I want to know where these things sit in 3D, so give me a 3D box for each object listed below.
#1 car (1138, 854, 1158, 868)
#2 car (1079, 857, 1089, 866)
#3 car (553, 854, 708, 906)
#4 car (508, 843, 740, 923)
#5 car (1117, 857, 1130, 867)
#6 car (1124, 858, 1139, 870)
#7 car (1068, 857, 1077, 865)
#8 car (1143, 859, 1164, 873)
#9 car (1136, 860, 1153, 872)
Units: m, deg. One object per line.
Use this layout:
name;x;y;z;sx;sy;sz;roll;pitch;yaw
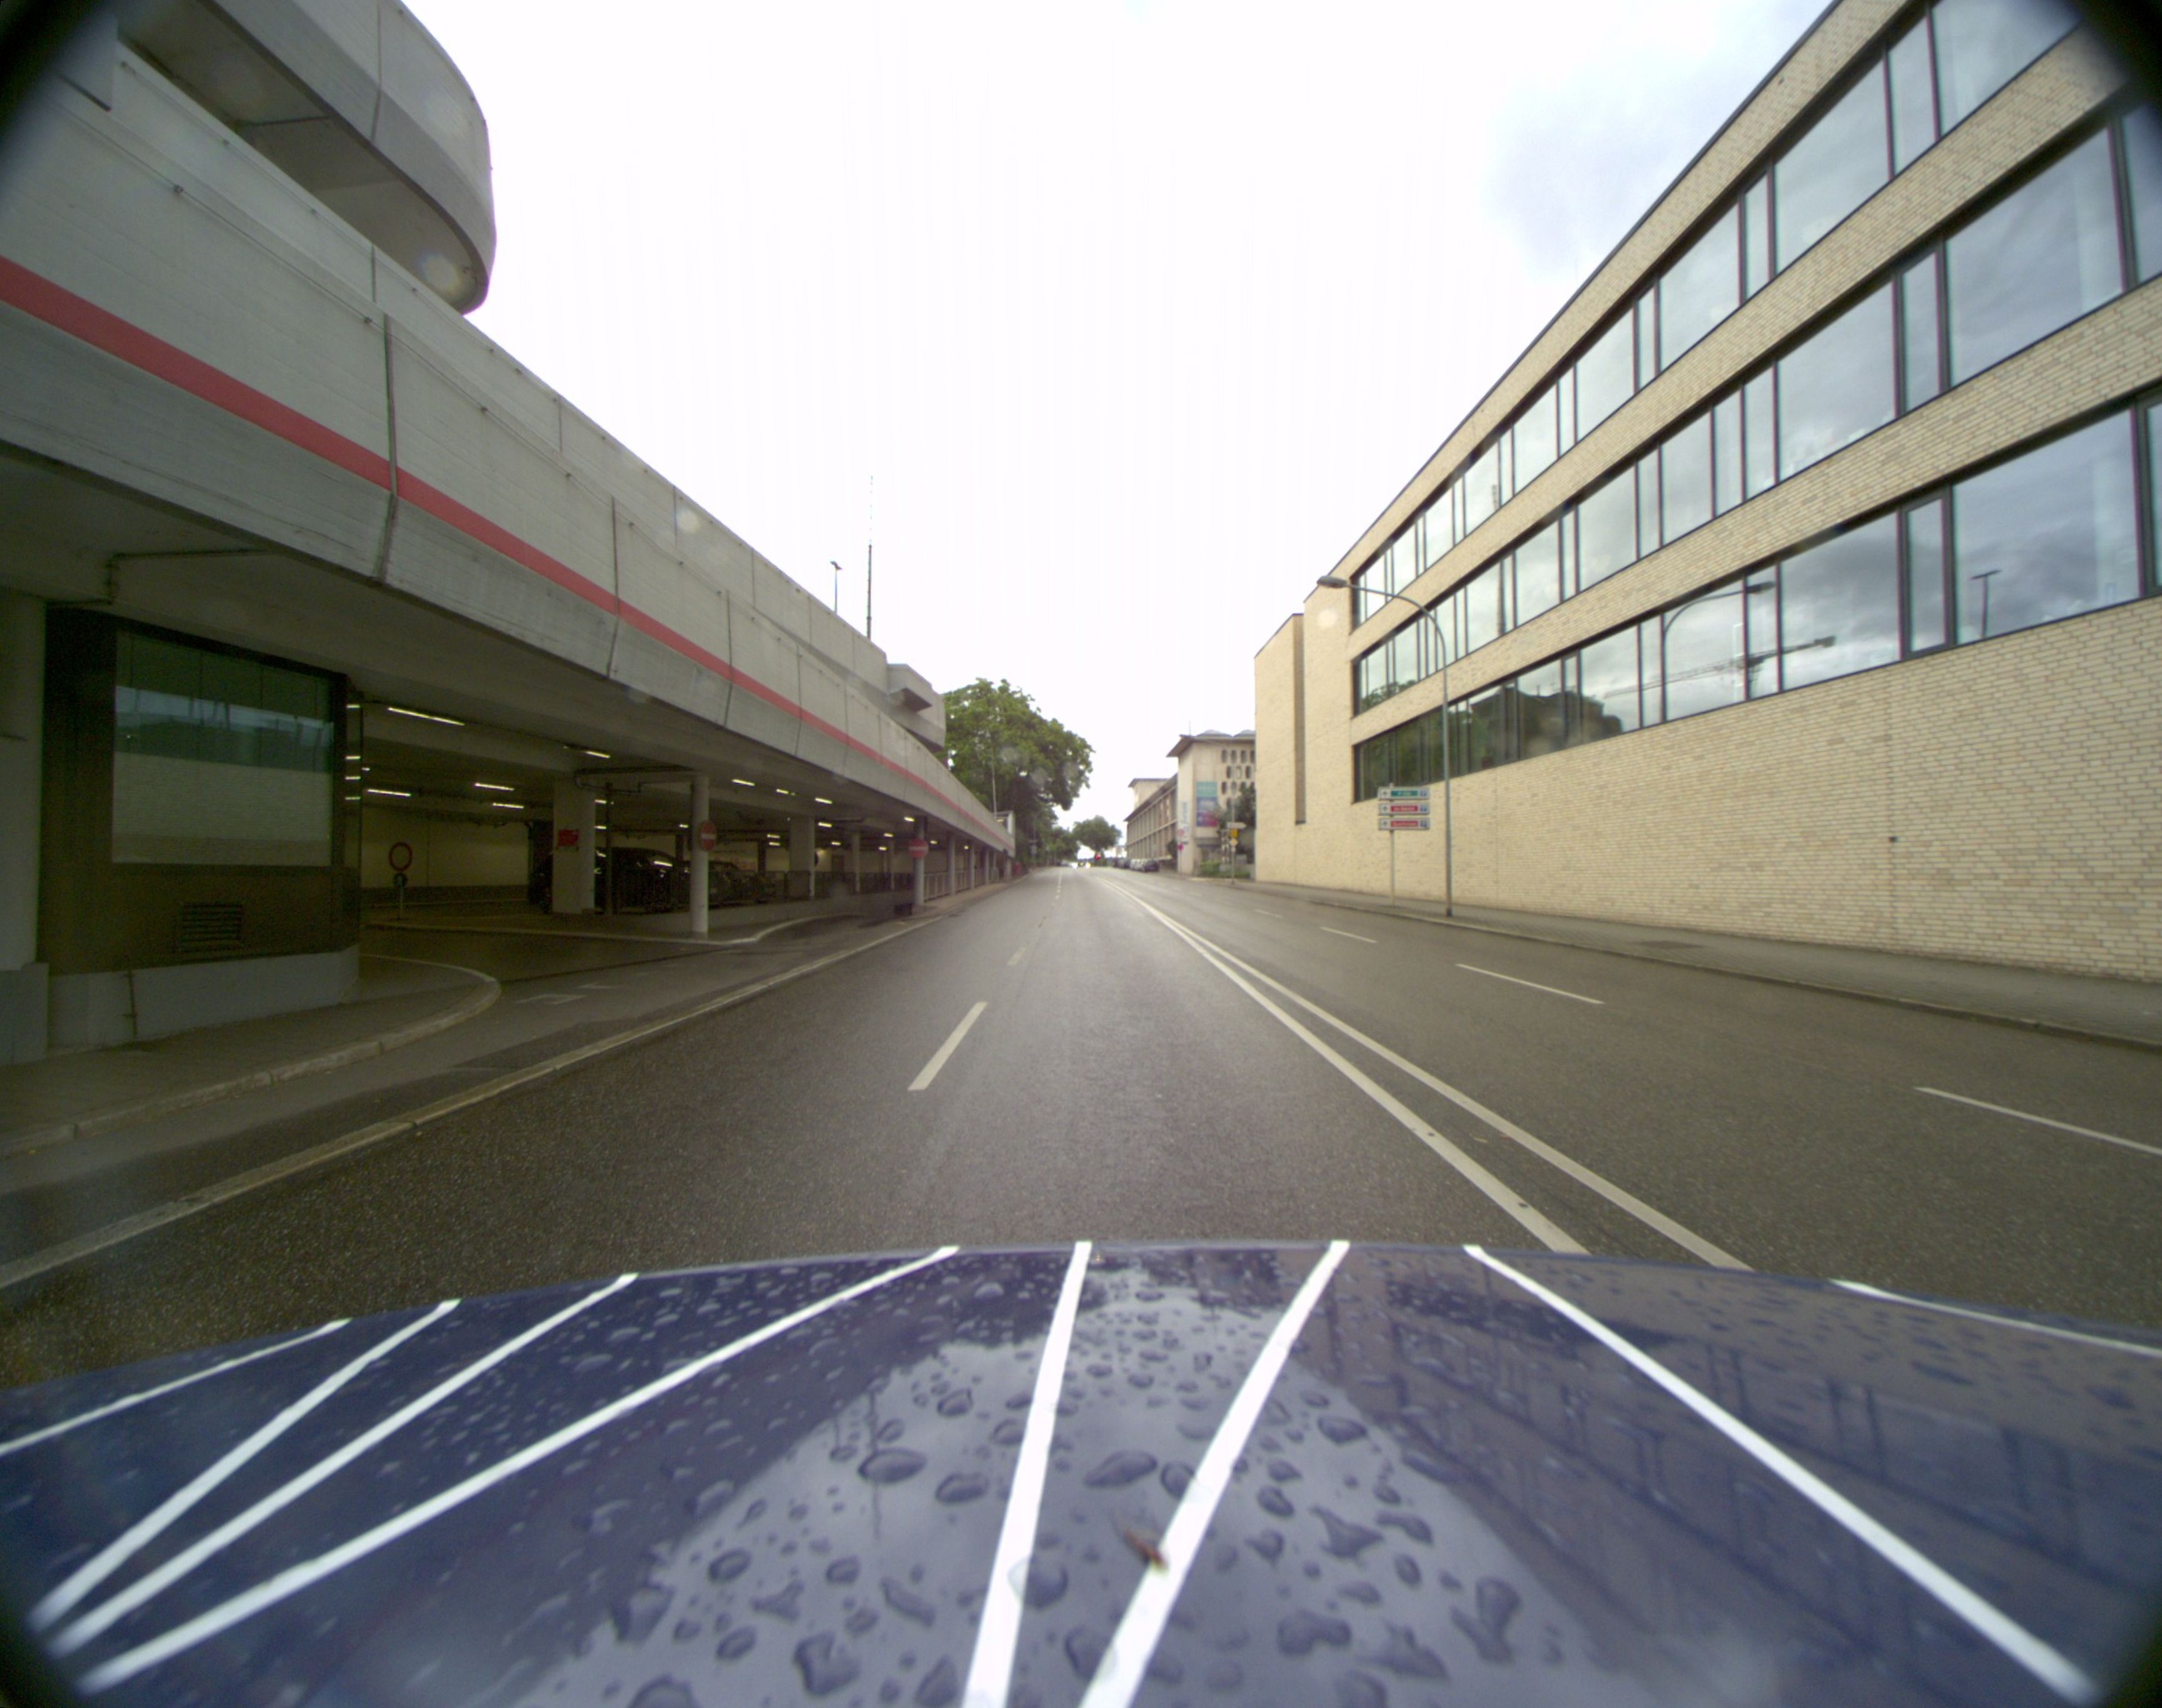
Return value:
car;8.490;0.833;96.582;1.999;1.632;3.999;-2;1;-1
car;0.713;1.881;187.432;1.806;2.002;3.997;-2;1;-6
car;-13.744;0.773;23.303;3.730;1.496;1.809;0;-1;8
car;-11.155;0.678;18.731;4.586;1.630;1.822;-3;1;5
car;7.967;1.409;142.728;1.999;1.637;3.998;-3;2;-2
car;8.068;1.594;121.563;1.999;1.702;3.999;-3;1;-1
car;-2.150;1.769;196.891;1.998;2.002;3.999;-2;1;1
car;8.619;1.422;90.994;1.999;1.520;3.999;-2;1;-2
car;8.470;1.602;101.719;1.998;1.502;4.002;-2;-2;0
